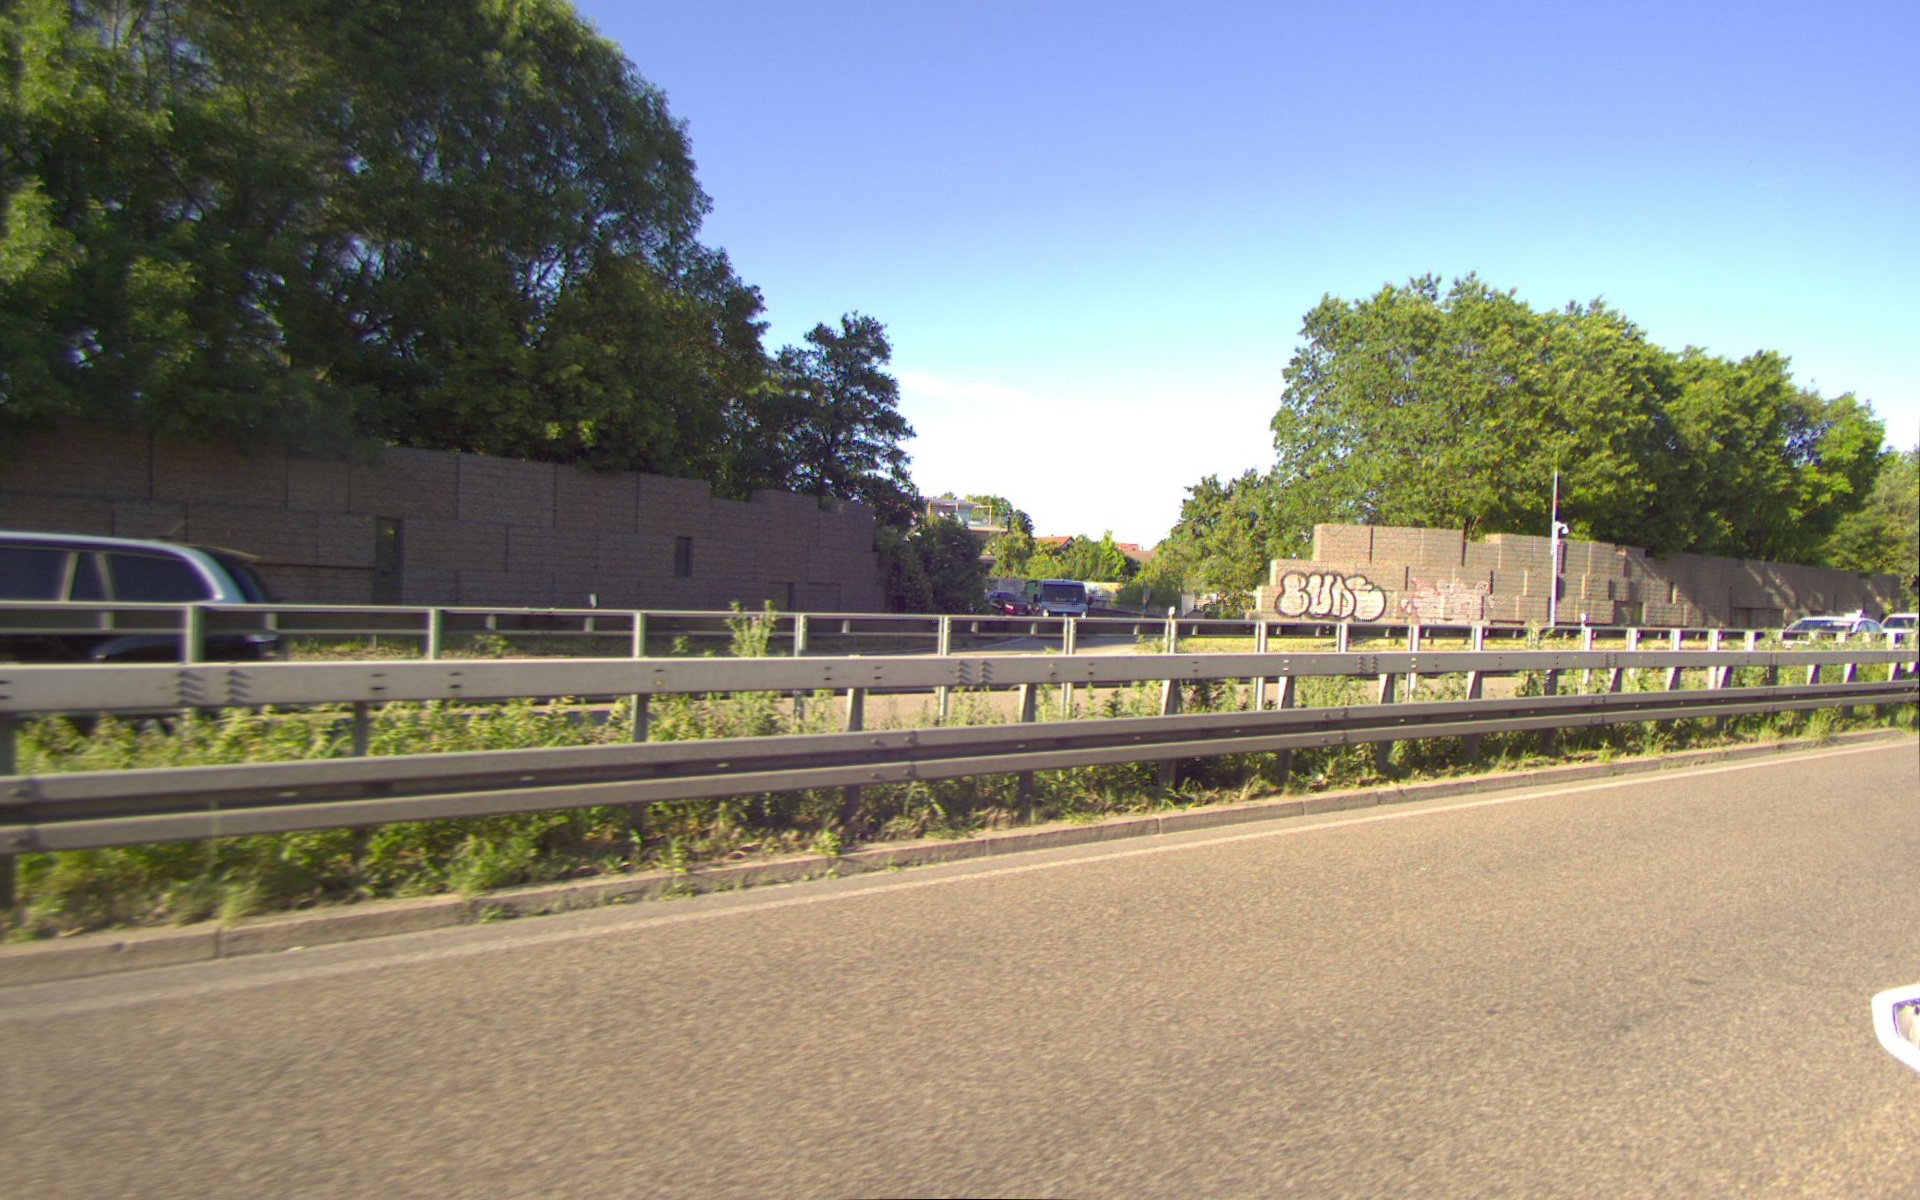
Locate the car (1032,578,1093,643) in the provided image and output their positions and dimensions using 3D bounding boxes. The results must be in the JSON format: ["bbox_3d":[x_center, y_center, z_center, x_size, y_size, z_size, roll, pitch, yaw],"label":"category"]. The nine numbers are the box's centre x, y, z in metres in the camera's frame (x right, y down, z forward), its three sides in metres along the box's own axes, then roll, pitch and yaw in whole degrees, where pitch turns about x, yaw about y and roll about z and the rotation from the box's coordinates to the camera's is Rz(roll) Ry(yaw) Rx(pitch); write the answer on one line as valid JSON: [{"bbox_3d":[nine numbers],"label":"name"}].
[{"bbox_3d":[4.083,0.330,40.878,2.042,2.311,5.374,2,2,2],"label":"car"}]

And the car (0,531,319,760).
[{"bbox_3d":[-7.464,0.312,7.722,4.199,1.600,1.983,0,0,-31],"label":"car"}]

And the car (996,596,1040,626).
[{"bbox_3d":[3.203,0.578,55.981,1.964,1.352,4.094,2,2,-3],"label":"car"}]

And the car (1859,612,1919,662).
[{"bbox_3d":[38.600,1.466,40.817,4.569,1.846,1.812,1,3,-32],"label":"car"}]

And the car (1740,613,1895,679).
[{"bbox_3d":[22.764,1.166,26.627,4.570,1.500,1.811,0,3,-33],"label":"car"}]
